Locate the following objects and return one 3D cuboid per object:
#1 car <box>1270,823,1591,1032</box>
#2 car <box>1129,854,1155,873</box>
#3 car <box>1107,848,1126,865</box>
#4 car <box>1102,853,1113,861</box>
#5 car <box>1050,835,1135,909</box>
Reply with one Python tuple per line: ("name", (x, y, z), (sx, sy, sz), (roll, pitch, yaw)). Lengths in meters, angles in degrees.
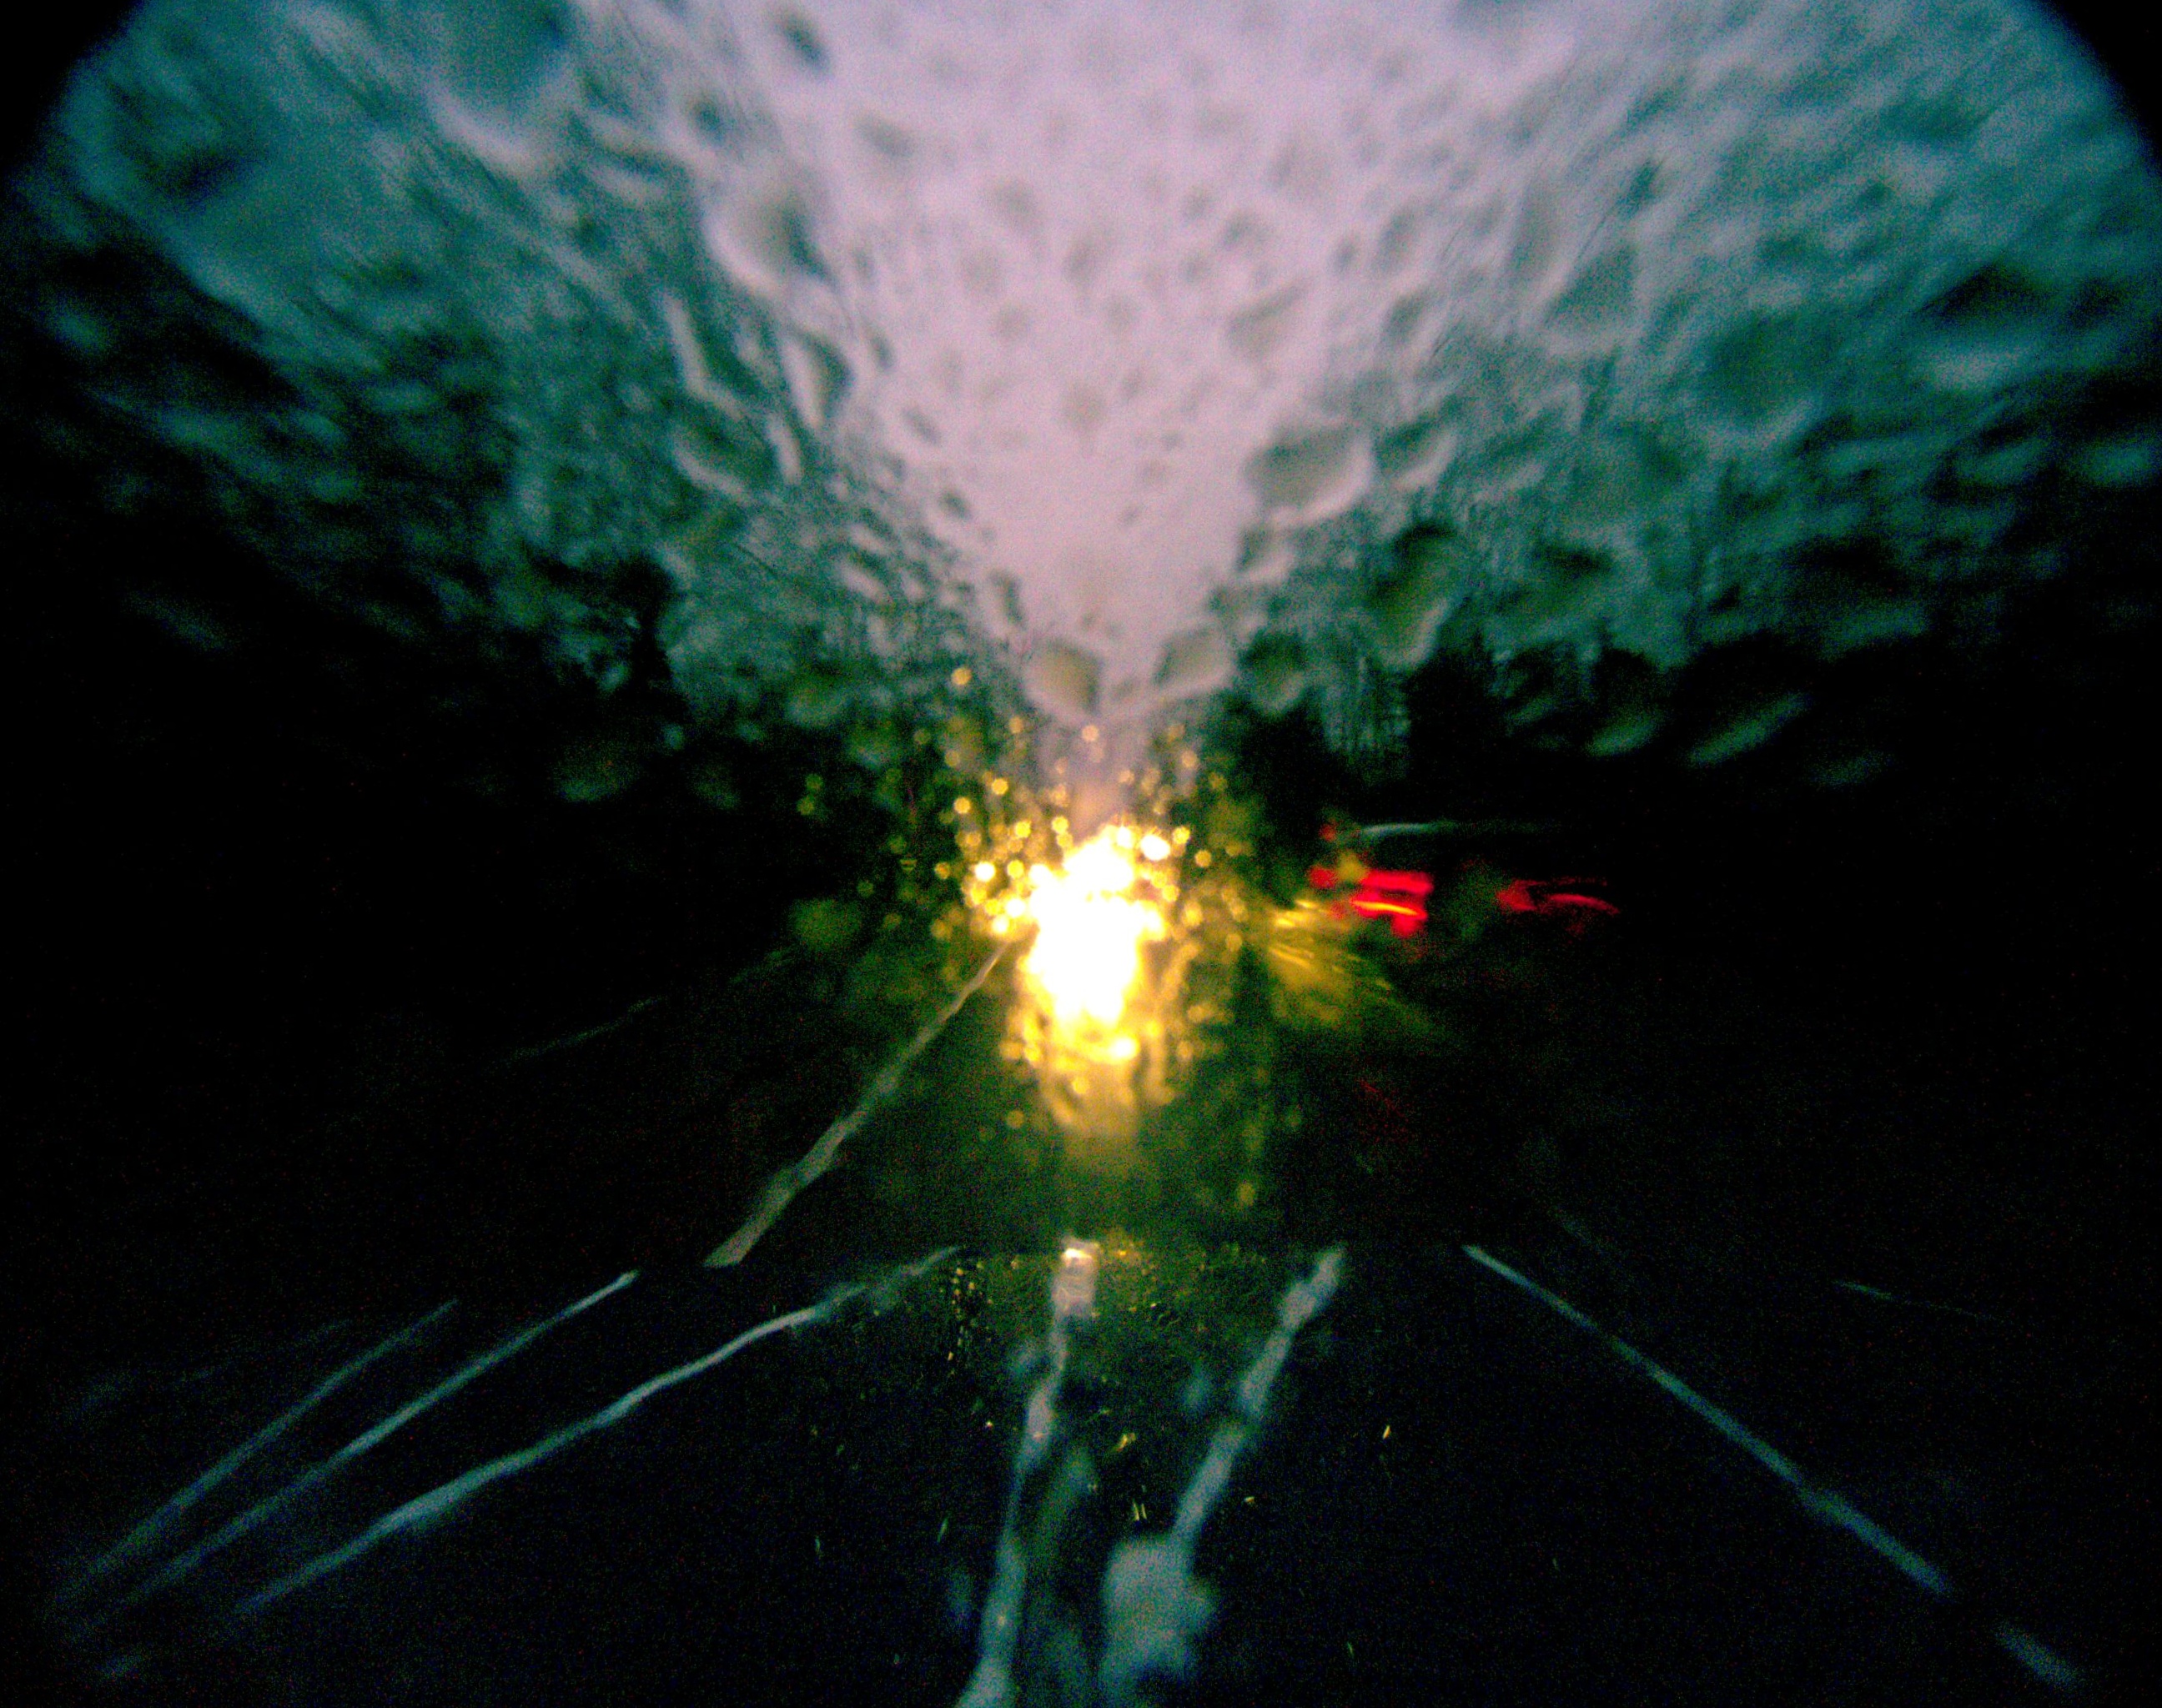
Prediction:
("car", (3.697, 0.651, 9.054), (1.801, 1.870, 4.425), (0, 0, 1))
("car", (4.766, 0.727, 59.837), (1.758, 1.449, 3.637), (1, 0, 1))
("car", (4.348, 0.308, 94.004), (2.012, 1.977, 5.031), (1, 0, 0))
("car", (5.284, 0.591, 149.577), (2.080, 1.607, 4.152), (0, 0, 2))
("car", (0.437, 0.539, 26.426), (2.542, 2.213, 6.169), (-2, 0, 1))
